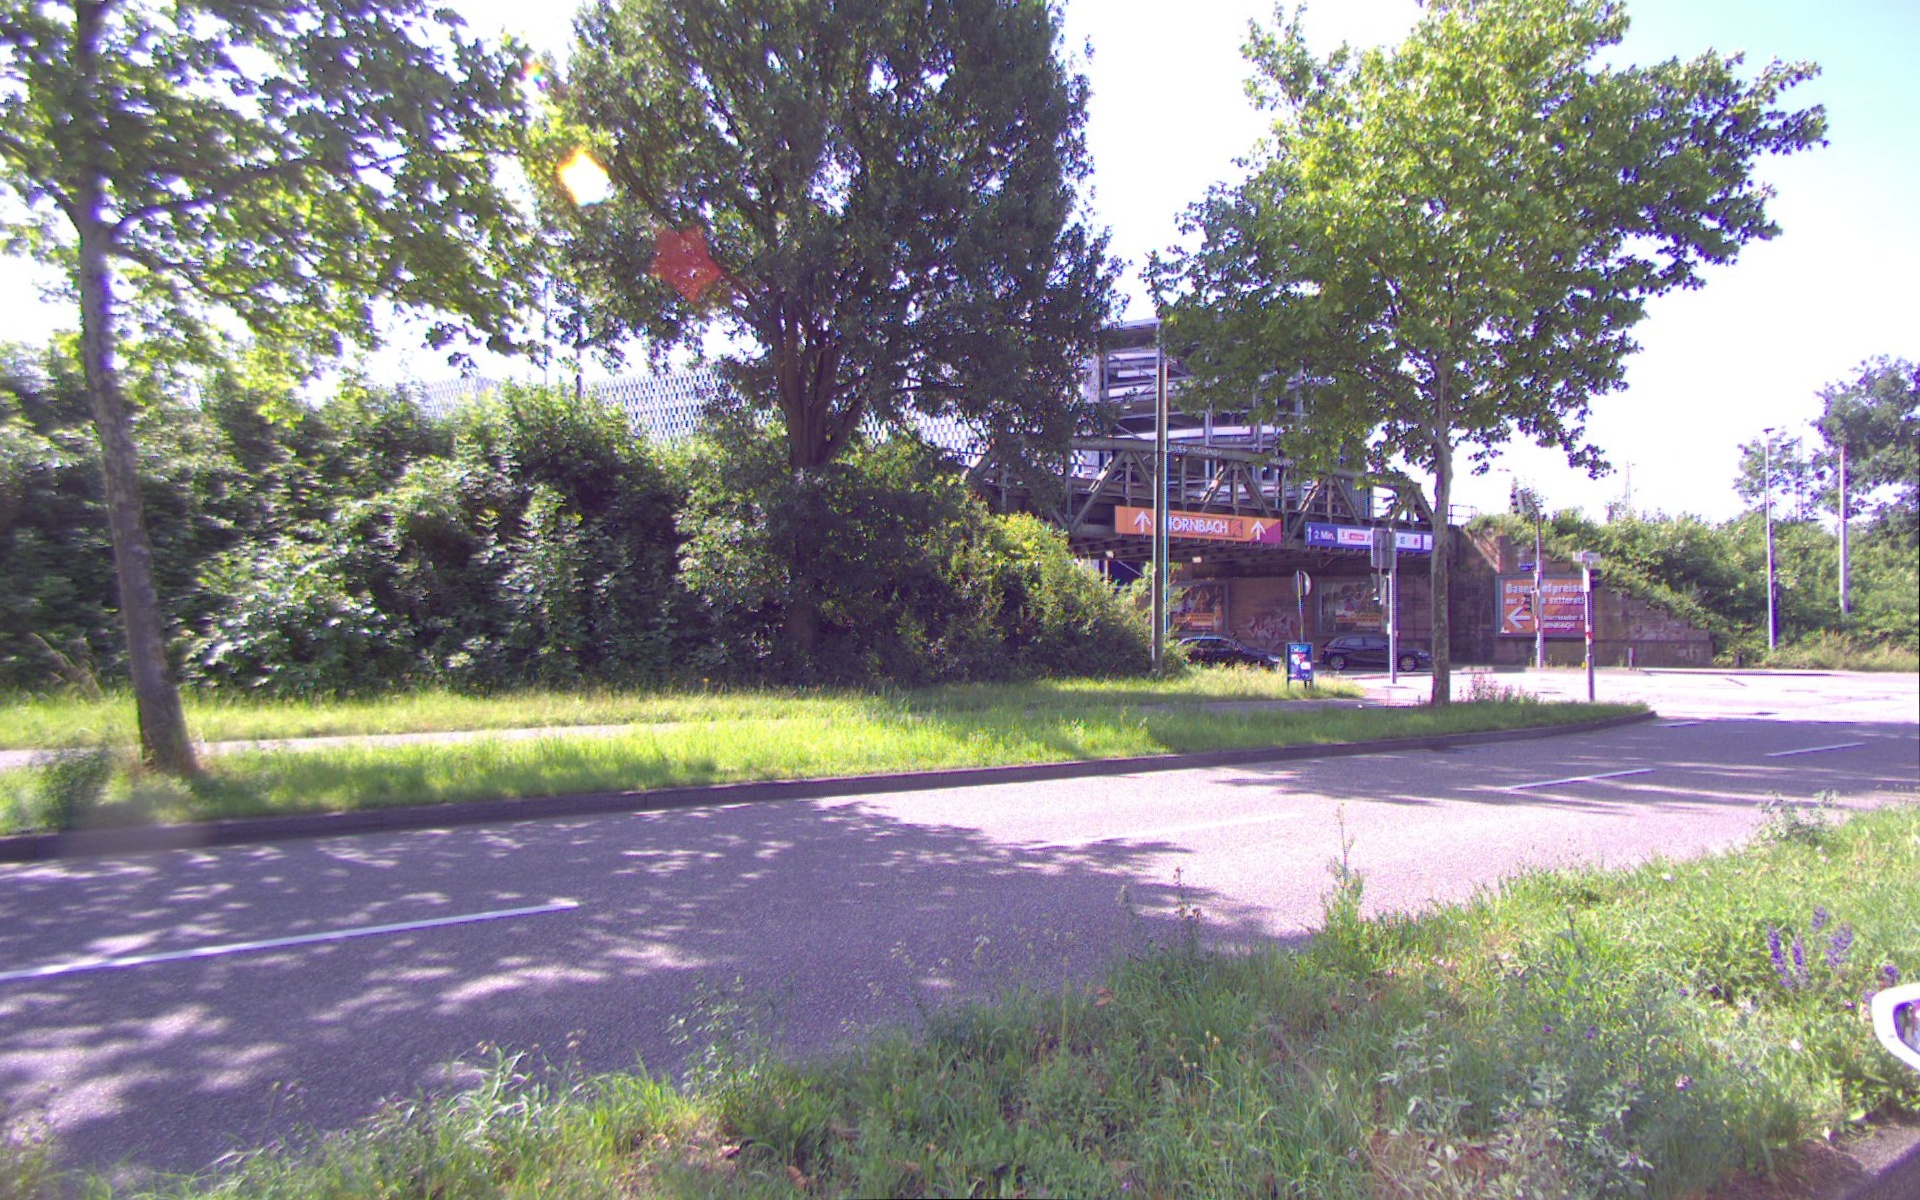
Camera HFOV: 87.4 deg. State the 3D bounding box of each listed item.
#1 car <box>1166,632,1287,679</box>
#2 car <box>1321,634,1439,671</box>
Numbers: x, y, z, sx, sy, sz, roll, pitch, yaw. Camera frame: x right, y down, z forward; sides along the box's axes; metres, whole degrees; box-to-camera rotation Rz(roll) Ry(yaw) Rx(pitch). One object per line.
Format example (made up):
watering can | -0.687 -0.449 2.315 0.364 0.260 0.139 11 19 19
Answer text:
car | 9.397 1.906 35.472 3.869 1.500 1.822 1 -1 25
car | 16.853 2.083 40.365 4.253 1.413 1.770 -1 -2 24
